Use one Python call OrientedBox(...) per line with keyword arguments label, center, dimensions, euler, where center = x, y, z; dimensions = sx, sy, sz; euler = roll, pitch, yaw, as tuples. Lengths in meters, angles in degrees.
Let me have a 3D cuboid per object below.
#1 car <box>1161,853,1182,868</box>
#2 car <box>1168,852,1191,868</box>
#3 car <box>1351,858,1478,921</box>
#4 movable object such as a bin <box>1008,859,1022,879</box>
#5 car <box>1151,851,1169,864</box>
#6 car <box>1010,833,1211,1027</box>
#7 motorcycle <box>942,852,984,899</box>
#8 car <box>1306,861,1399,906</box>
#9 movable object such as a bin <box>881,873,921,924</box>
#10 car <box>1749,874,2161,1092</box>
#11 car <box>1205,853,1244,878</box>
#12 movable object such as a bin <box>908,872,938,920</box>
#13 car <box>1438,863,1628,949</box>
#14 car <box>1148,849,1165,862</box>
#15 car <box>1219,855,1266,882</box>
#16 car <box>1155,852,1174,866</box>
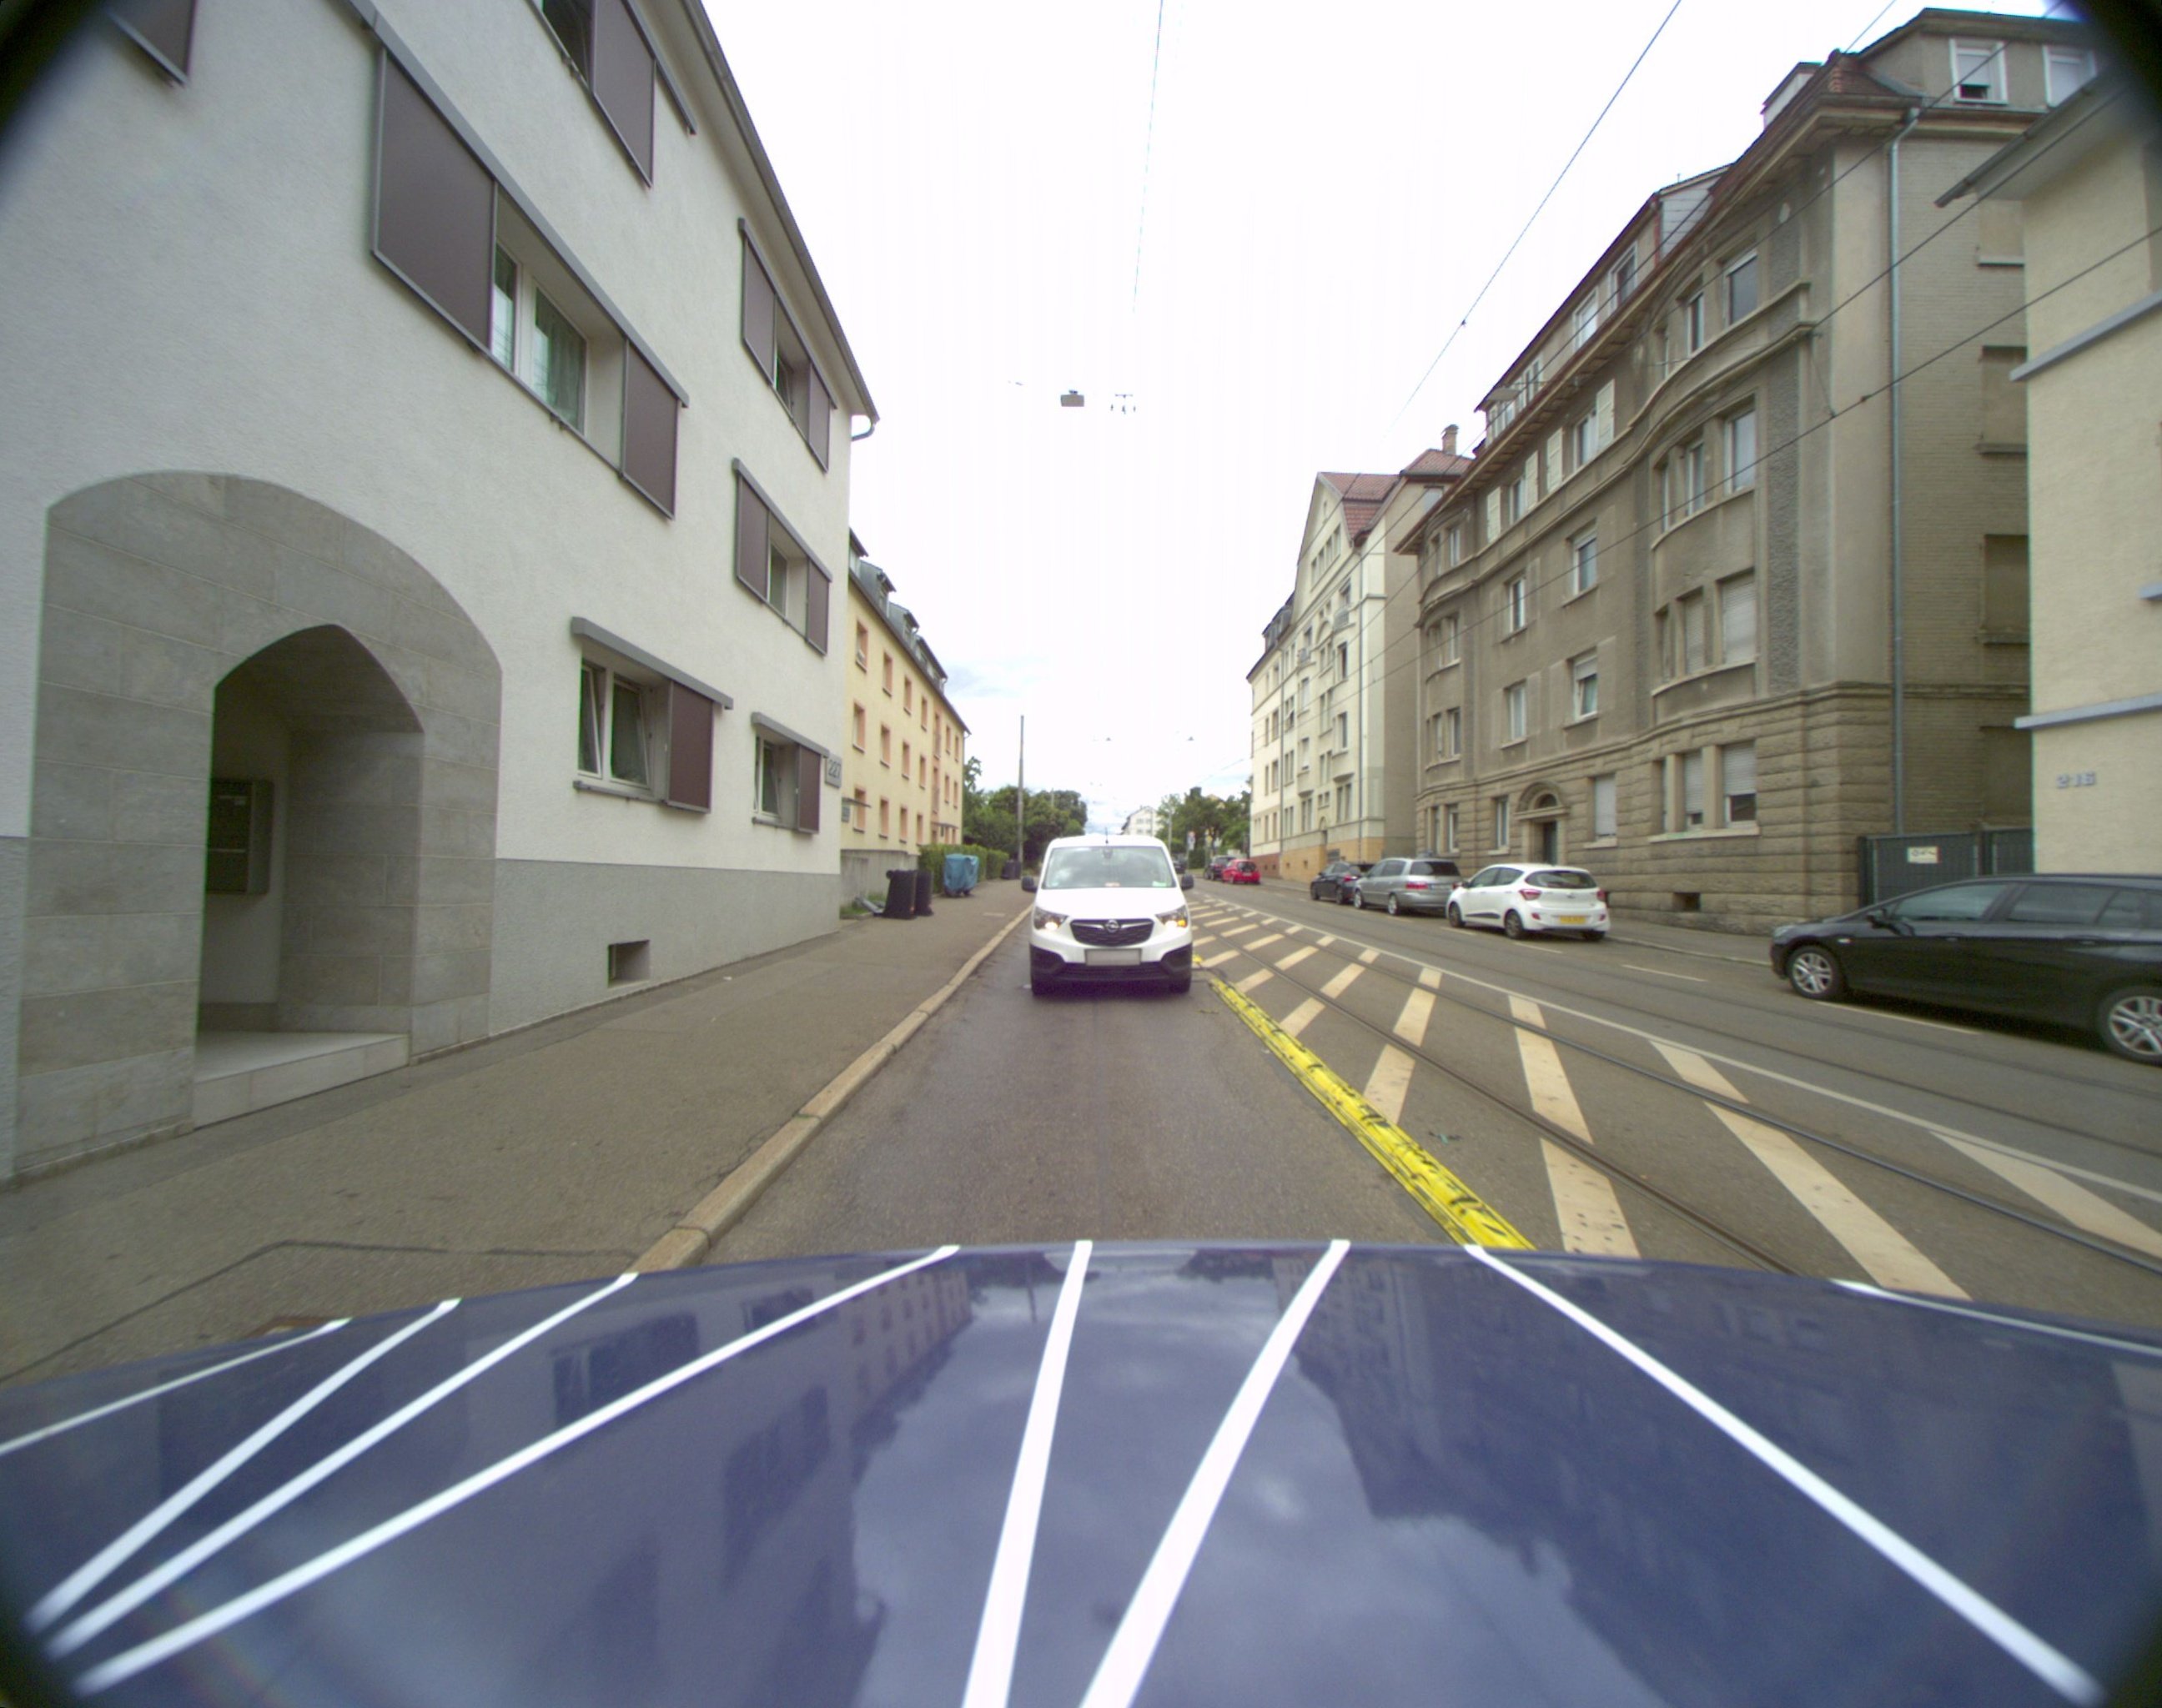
OrientedBox(label="car", center=(9.741, 0.665, 82.144), dimensions=(1.743, 1.517, 3.952), euler=(2, 1, 1))
OrientedBox(label="car", center=(9.793, 0.574, 75.878), dimensions=(1.743, 1.517, 3.951), euler=(2, 1, 0))
OrientedBox(label="car", center=(9.212, 0.915, 21.401), dimensions=(1.743, 1.558, 4.142), euler=(0, 1, 0))
OrientedBox(label="movable object such as a bin", center=(-3.585, 0.815, 41.293), dimensions=(0.669, 1.053, 0.539), euler=(-1, 0, 1))
OrientedBox(label="car", center=(9.699, 0.465, 93.986), dimensions=(1.743, 1.517, 3.951), euler=(2, 1, 0))
OrientedBox(label="car", center=(0.317, 0.712, 9.586), dimensions=(1.888, 1.827, 4.676), euler=(-1, 0, 1))
OrientedBox(label="motorcycle", center=(-3.708, 0.668, 24.051), dimensions=(0.731, 1.382, 1.937), euler=(4, 0, 7))
OrientedBox(label="car", center=(9.274, 0.967, 26.261), dimensions=(1.743, 1.373, 4.044), euler=(0, 1, 0))
OrientedBox(label="movable object such as a bin", center=(-3.789, 0.931, 16.062), dimensions=(0.637, 1.003, 0.602), euler=(3, 0, 1))
OrientedBox(label="car", center=(8.946, 1.032, 6.877), dimensions=(1.789, 1.502, 4.526), euler=(2, 0, 1))
OrientedBox(label="car", center=(9.483, 0.742, 50.354), dimensions=(1.743, 1.517, 3.951), euler=(2, 1, 0))
OrientedBox(label="movable object such as a bin", center=(-3.536, 0.937, 17.056), dimensions=(0.565, 1.003, 0.498), euler=(3, 0, -8))
OrientedBox(label="car", center=(9.224, 0.981, 15.907), dimensions=(1.743, 1.502, 3.800), euler=(1, 1, 1))
OrientedBox(label="car", center=(9.868, 0.193, 99.786), dimensions=(1.743, 1.517, 3.951), euler=(2, 1, 0))
OrientedBox(label="car", center=(9.623, 0.858, 45.544), dimensions=(1.743, 1.450, 3.950), euler=(2, 1, -3))
OrientedBox(label="car", center=(9.697, 0.535, 88.601), dimensions=(1.743, 1.517, 3.951), euler=(2, 1, 0))
